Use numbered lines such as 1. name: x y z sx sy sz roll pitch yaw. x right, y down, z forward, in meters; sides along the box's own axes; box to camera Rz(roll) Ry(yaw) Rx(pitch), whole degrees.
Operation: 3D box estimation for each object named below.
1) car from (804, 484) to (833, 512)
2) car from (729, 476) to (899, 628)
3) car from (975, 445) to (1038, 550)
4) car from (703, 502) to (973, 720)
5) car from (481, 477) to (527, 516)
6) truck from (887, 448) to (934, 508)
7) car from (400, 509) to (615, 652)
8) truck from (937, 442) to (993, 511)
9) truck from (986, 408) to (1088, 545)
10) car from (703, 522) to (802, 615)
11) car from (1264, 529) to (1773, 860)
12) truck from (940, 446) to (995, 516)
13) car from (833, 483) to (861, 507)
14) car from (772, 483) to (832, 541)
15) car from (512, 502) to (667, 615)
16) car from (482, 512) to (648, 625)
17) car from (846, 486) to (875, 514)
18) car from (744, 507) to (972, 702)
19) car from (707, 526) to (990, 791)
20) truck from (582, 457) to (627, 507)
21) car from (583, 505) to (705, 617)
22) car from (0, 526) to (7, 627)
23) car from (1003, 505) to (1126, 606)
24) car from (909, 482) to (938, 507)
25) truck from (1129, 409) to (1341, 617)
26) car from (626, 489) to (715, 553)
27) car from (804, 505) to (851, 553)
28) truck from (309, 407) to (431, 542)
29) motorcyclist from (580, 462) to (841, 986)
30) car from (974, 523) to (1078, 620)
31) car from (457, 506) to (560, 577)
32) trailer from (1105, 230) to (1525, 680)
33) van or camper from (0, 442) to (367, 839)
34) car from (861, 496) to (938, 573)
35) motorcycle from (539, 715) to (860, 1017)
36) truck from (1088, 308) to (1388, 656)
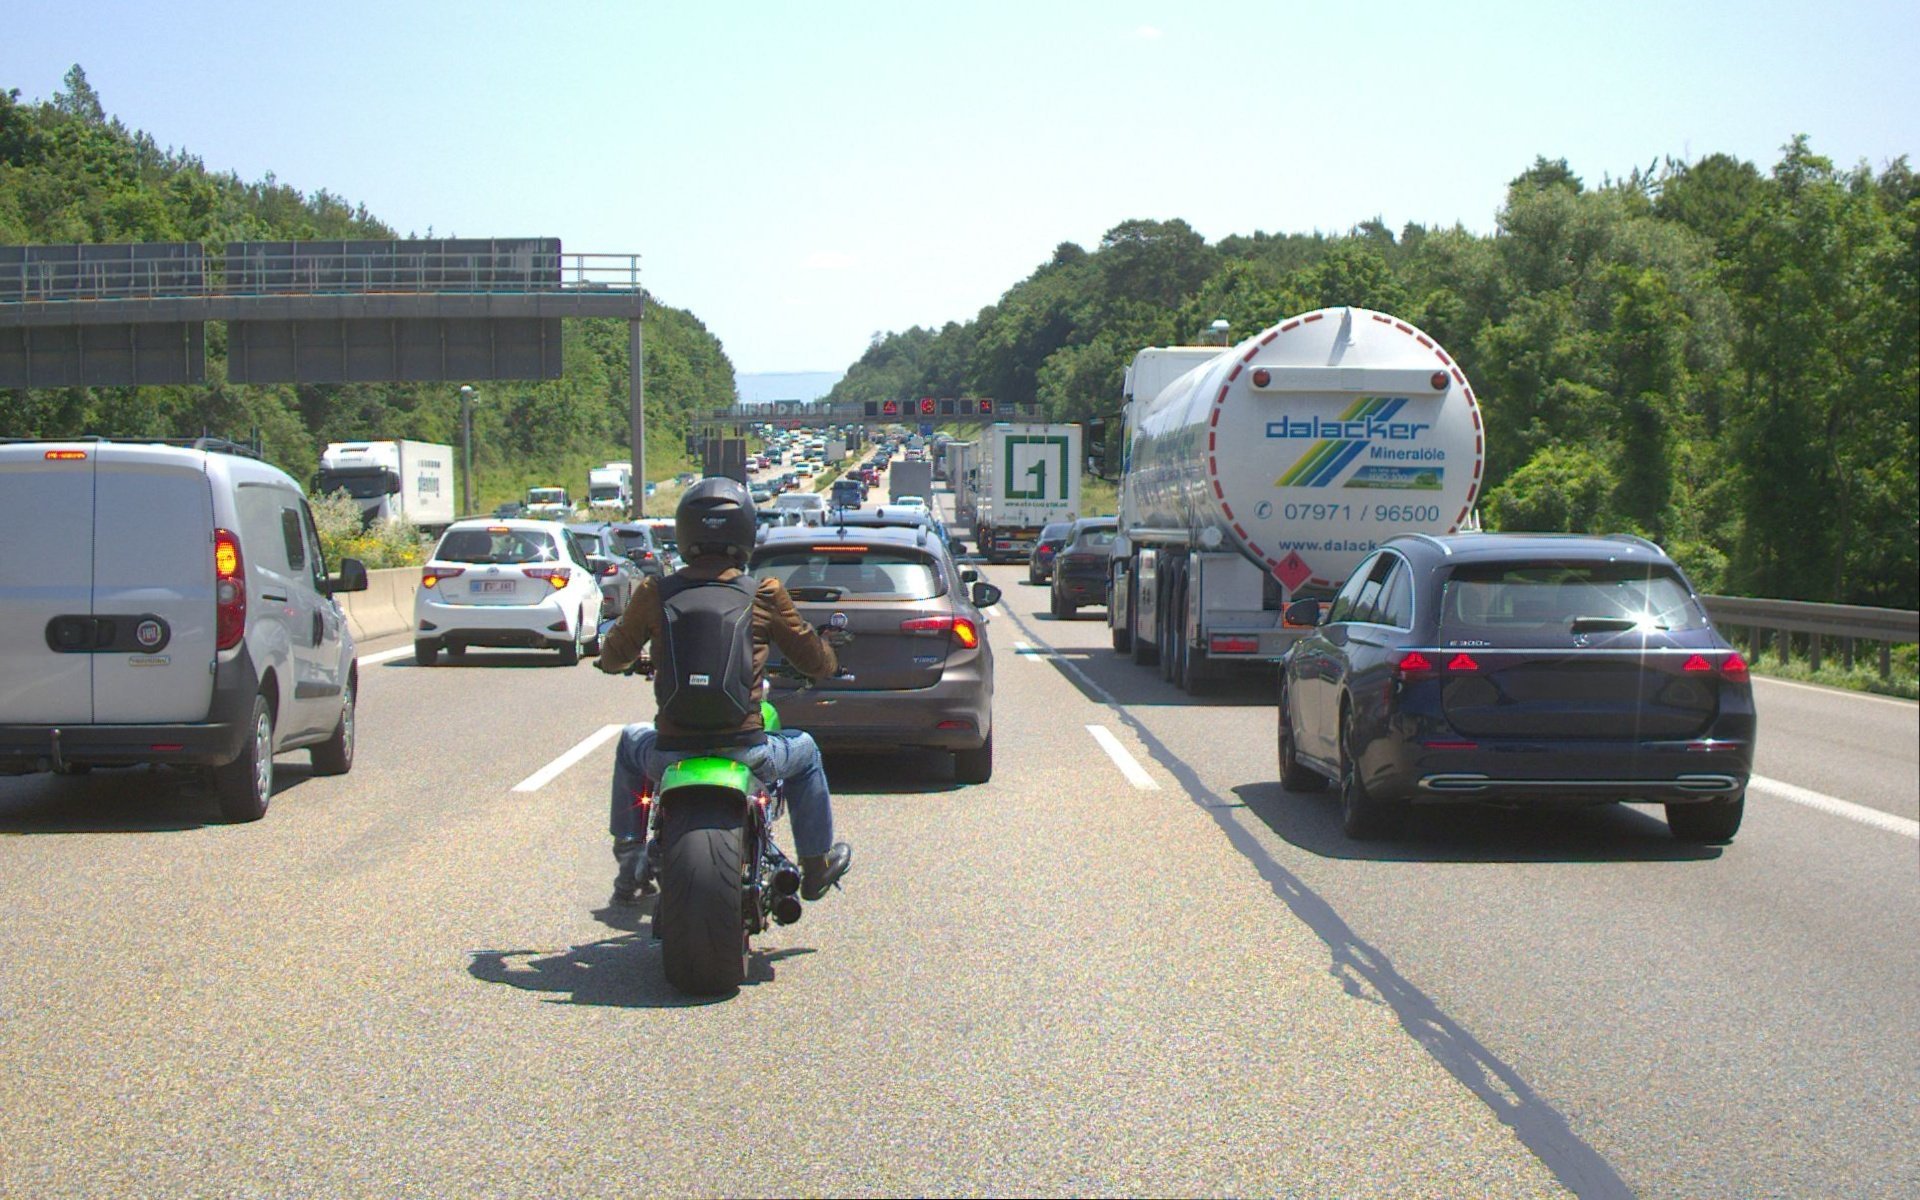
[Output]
1. car: -10.154 -7.309 246.707 1.993 2.007 4.000 0 1 -1
2. car: -1.782 -0.587 42.786 1.993 1.769 4.000 1 1 -1
3. car: 1.749 -3.890 133.030 2.167 3.879 9.330 1 1 -1
4. car: -0.929 0.064 27.620 1.993 1.595 4.000 1 1 -1
5. car: -24.747 -5.619 186.861 1.993 2.007 4.000 1 1 -1
6. truck: -2.912 -7.206 203.990 2.696 3.393 10.479 0 1 -1
7. car: -4.731 -0.213 36.413 1.776 1.406 4.000 1 1 -1
8. truck: 0.192 -6.251 175.464 2.696 3.393 10.479 0 1 -1
9. truck: 2.336 -3.583 101.766 2.854 3.808 7.187 1 1 2
10. car: -4.648 -0.712 77.501 1.993 2.007 4.000 1 1 -1
11. car: 2.695 0.397 17.642 1.792 1.453 4.624 1 1 -1
12. truck: 0.257 -3.743 108.575 1.591 2.104 3.751 1 1 2
13. car: -7.453 -6.905 226.598 1.770 1.550 4.000 0 1 -1
14. car: -5.619 -3.123 122.383 1.993 2.007 4.000 0 1 -1
15. car: -5.764 -0.644 53.988 1.993 1.678 4.330 1 1 -1
16. car: -5.377 -0.439 47.204 1.993 1.459 4.000 1 1 -3
17. car: -7.296 -7.326 252.337 1.993 2.007 4.000 0 1 -1
18. car: -0.957 0.019 32.513 1.993 1.705 4.000 1 1 -1
19. car: -0.737 0.303 20.934 1.540 1.445 4.001 1 1 -4
20. truck: -21.760 -7.179 210.737 2.177 2.874 6.743 1 1 -1
21. car: -5.908 -0.735 64.686 1.993 2.007 4.000 1 1 -1
22. car: -19.910 -0.457 65.984 2.113 2.007 4.479 1 1 -2
23. car: 1.639 -0.707 55.076 1.776 1.522 4.000 1 1 -1
24. car: -2.398 -6.899 225.423 1.878 1.612 4.000 0 1 -1
25. truck: 4.173 -1.361 53.687 2.388 2.969 8.254 0 2 -2
26. car: -6.885 -1.864 82.072 1.764 1.437 4.000 1 1 0
27. car: -5.731 -3.070 148.912 1.899 2.007 4.000 1 1 -1
28. truck: -20.464 -4.290 119.615 2.949 4.466 7.519 1 1 0
29. motorcyclist: -0.823 0.396 11.610 0.799 1.682 1.016 1 0 -1
30. car: 1.398 -0.624 74.096 1.993 2.007 4.000 1 1 -2
31. car: -9.786 -1.288 74.703 1.824 1.489 4.001 0 2 -2
32. trailer: 3.151 -1.248 33.682 2.828 3.658 10.733 1 1 -1
33. van or camper: -4.393 0.111 18.603 1.853 1.874 4.562 1 2 -4
34. car: -1.599 -1.764 91.631 1.993 2.007 4.000 0 1 -1
35. motorcycle: -0.835 0.857 11.727 0.936 0.790 2.299 1 1 -1
36. truck: 3.070 -1.285 39.698 2.828 3.658 6.430 1 1 -1
